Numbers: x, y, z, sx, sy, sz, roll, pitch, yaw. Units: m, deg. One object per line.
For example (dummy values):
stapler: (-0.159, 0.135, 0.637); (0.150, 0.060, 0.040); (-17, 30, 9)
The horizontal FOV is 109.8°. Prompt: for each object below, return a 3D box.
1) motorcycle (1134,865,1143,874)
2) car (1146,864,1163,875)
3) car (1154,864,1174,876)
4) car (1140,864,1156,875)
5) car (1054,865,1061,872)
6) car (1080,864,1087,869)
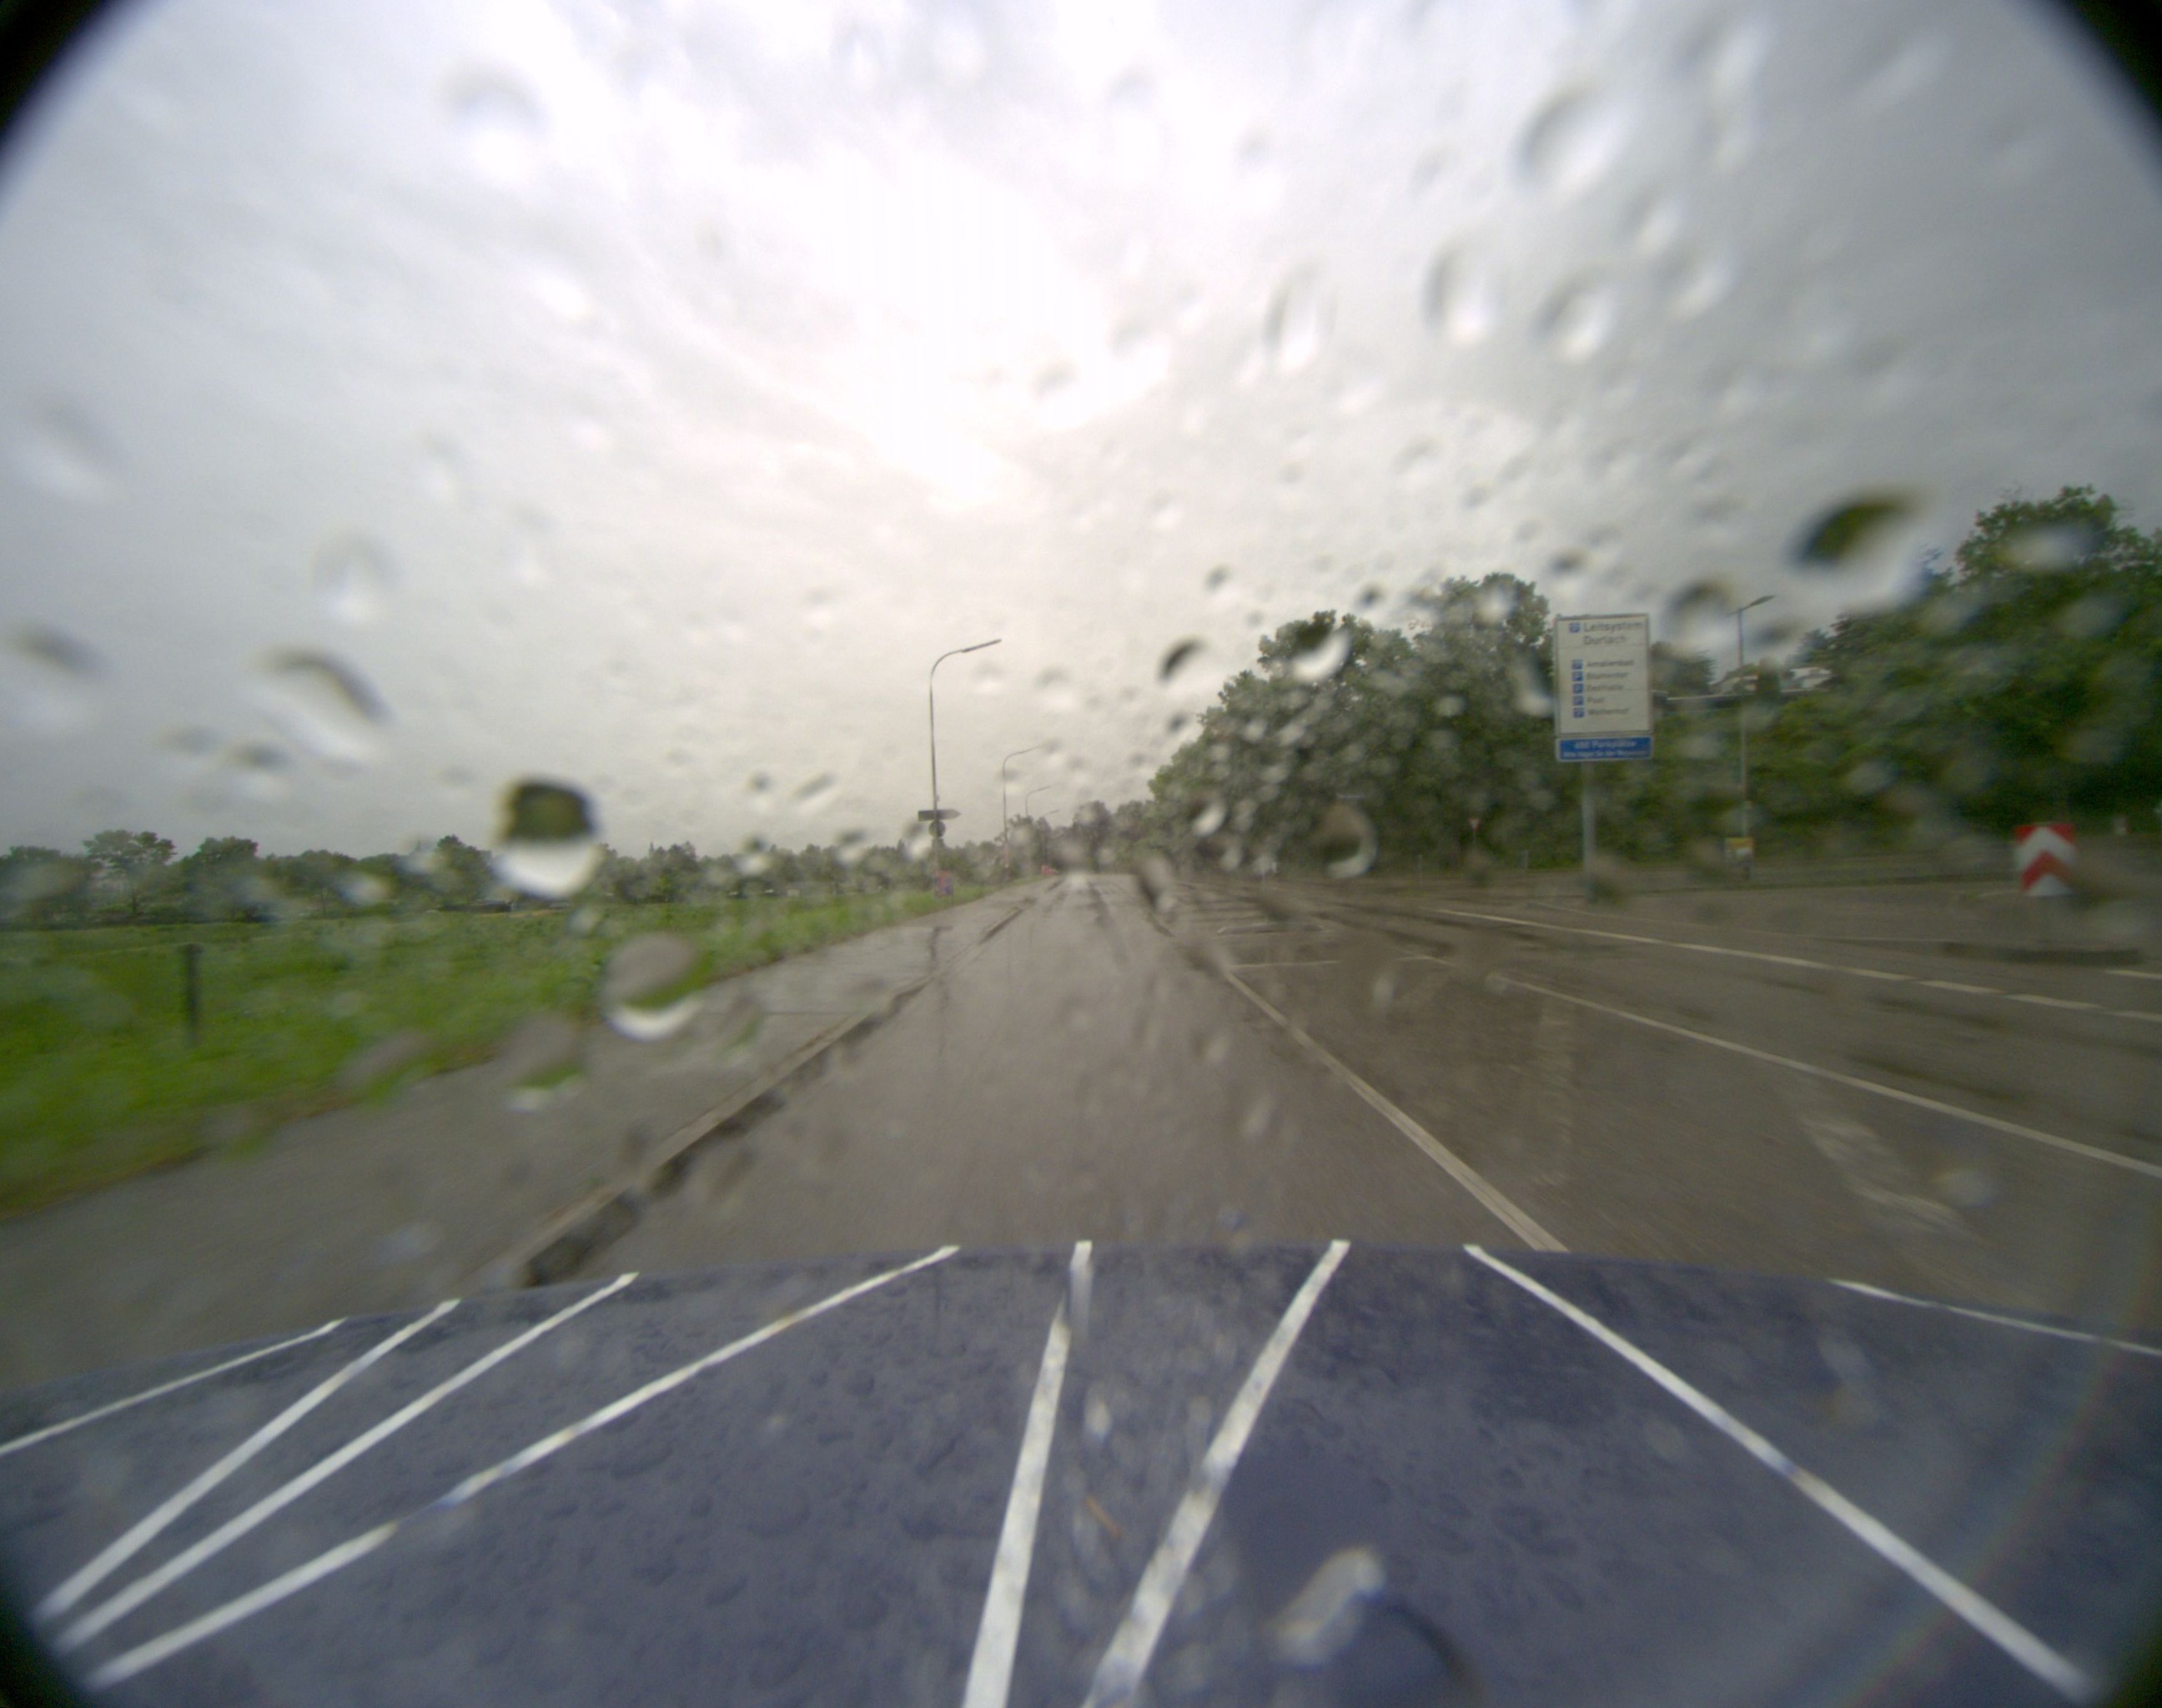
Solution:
motorcycle: (8.446, 2.296, 111.394); (0.840, 1.333, 2.498); (-1, -1, -7)
car: (9.703, 2.064, 100.496); (1.437, 1.411, 4.102); (-1, -1, -6)
car: (10.362, 1.993, 95.137); (1.691, 1.411, 4.740); (-1, -1, -3)
car: (9.223, 2.112, 104.304); (1.438, 1.528, 2.818); (-1, -1, -10)
car: (-7.717, 4.761, 249.956); (1.999, 2.001, 4.000); (-2, -2, -2)
car: (0.891, 4.294, 257.883); (1.854, 1.583, 3.704); (-3, -1, -4)
